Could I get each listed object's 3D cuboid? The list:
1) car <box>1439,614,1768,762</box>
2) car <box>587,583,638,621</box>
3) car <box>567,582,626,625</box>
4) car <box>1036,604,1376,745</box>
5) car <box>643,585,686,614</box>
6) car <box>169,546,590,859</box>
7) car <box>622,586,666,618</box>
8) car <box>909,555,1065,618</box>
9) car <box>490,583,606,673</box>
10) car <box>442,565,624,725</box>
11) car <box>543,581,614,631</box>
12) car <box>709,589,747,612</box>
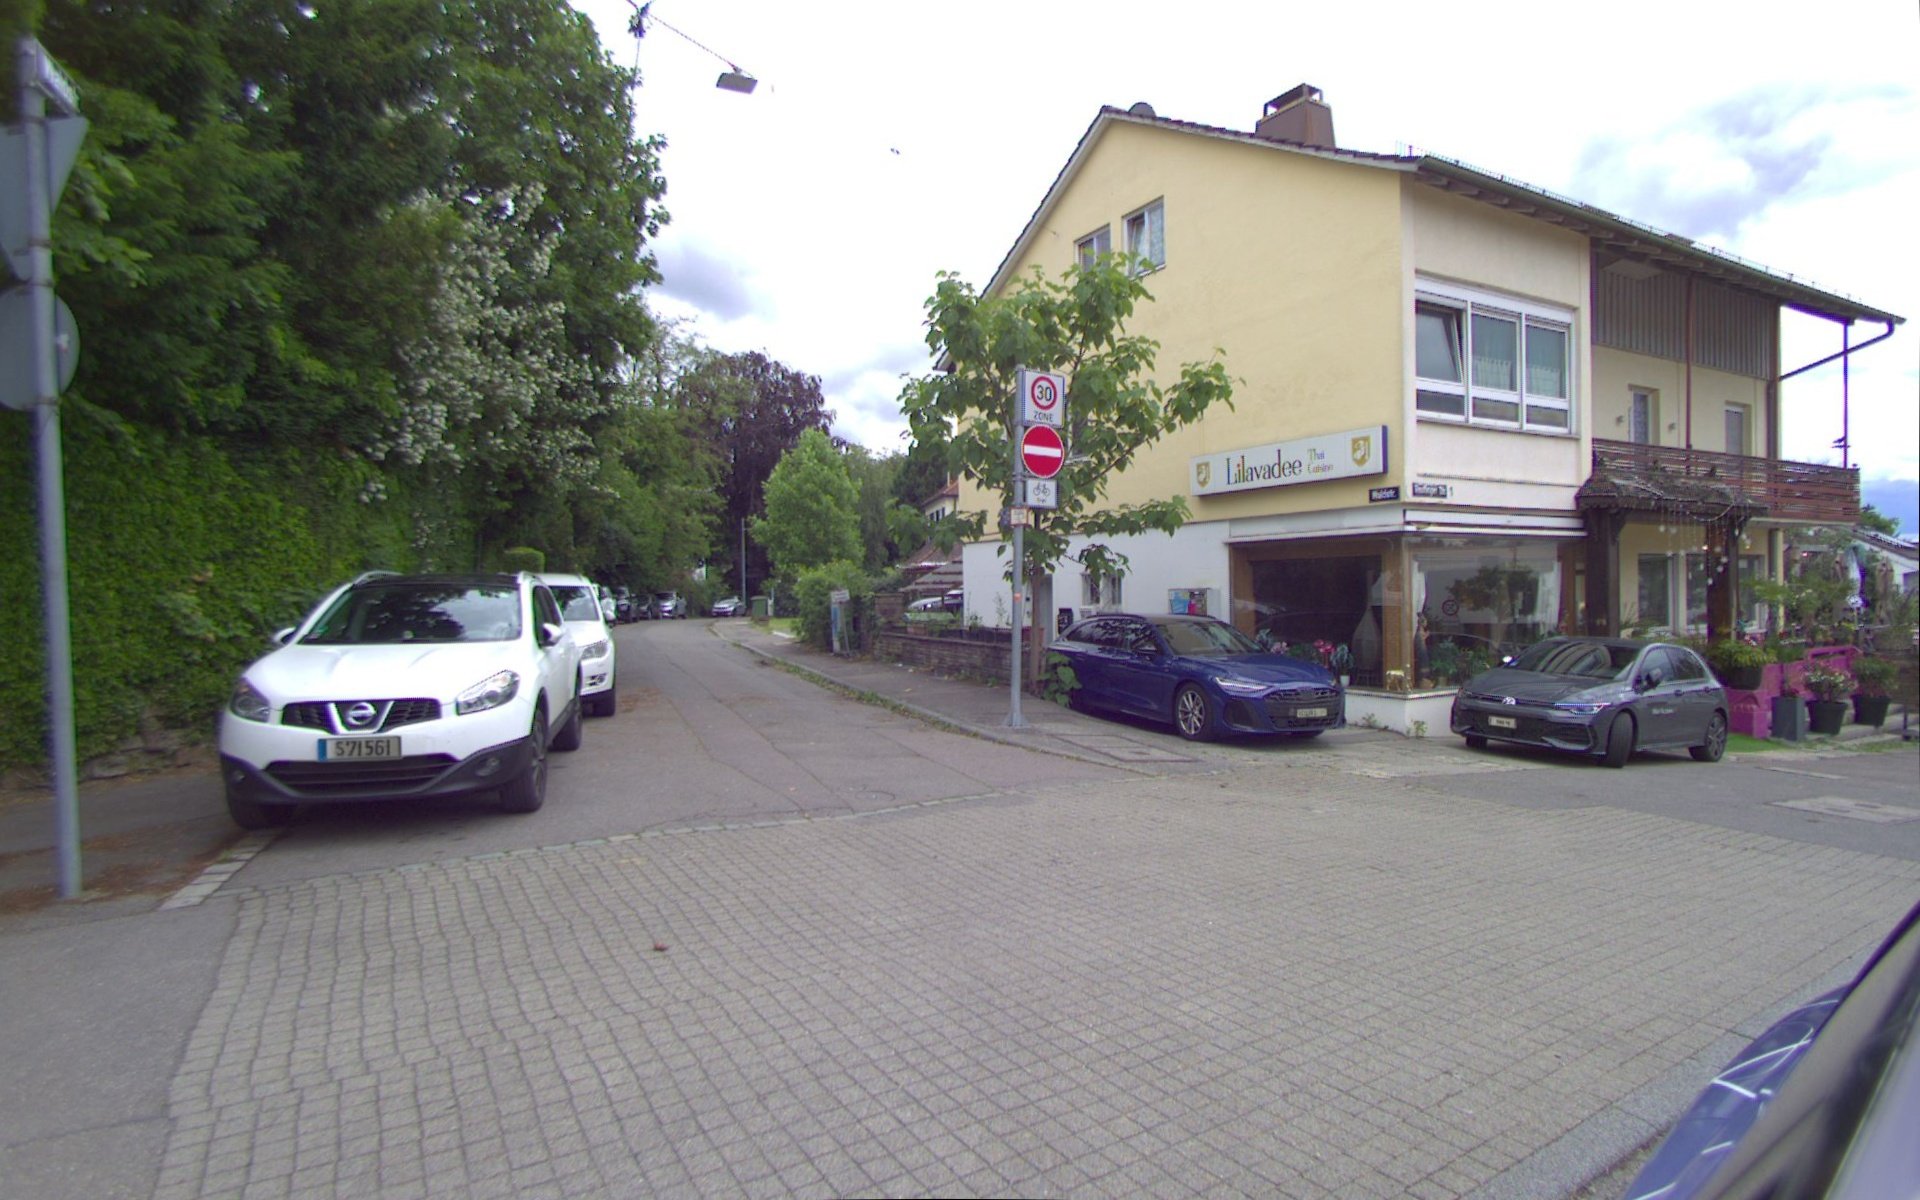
[{"bbox_3d":[7.938,1.066,12.374,4.242,1.480,1.800,5,-2,-34],"label":"car"},{"bbox_3d":[-14.214,0.046,41.526,1.542,1.502,3.481,-1,1,-11],"label":"car"},{"bbox_3d":[-13.430,0.105,37.546,1.542,1.502,3.481,-1,1,-11],"label":"car"},{"bbox_3d":[2.910,0.829,13.213,1.761,1.405,4.758,2,0,-23],"label":"car"},{"bbox_3d":[-16.249,-0.040,55.795,1.543,1.502,3.476,0,1,-3],"label":"car"},{"bbox_3d":[-3.871,0.509,7.556,1.761,1.643,4.144,-1,1,-16],"label":"car"},{"bbox_3d":[-15.925,0.076,51.112,1.542,1.502,3.479,-1,1,-8],"label":"car"},{"bbox_3d":[0.796,-0.368,30.195,4.235,1.480,1.802,4,-2,-19],"label":"car"},{"bbox_3d":[-7.488,0.411,18.626,1.761,1.441,4.080,-1,1,-20],"label":"car"},{"bbox_3d":[-5.181,0.435,12.611,1.761,1.643,4.080,-1,1,-20],"label":"car"},{"bbox_3d":[-12.224,0.140,32.593,1.542,1.502,3.745,-1,1,-11],"label":"car"},{"bbox_3d":[-16.358,0.029,71.457,1.547,1.502,3.468,0,1,7],"label":"car"}]
